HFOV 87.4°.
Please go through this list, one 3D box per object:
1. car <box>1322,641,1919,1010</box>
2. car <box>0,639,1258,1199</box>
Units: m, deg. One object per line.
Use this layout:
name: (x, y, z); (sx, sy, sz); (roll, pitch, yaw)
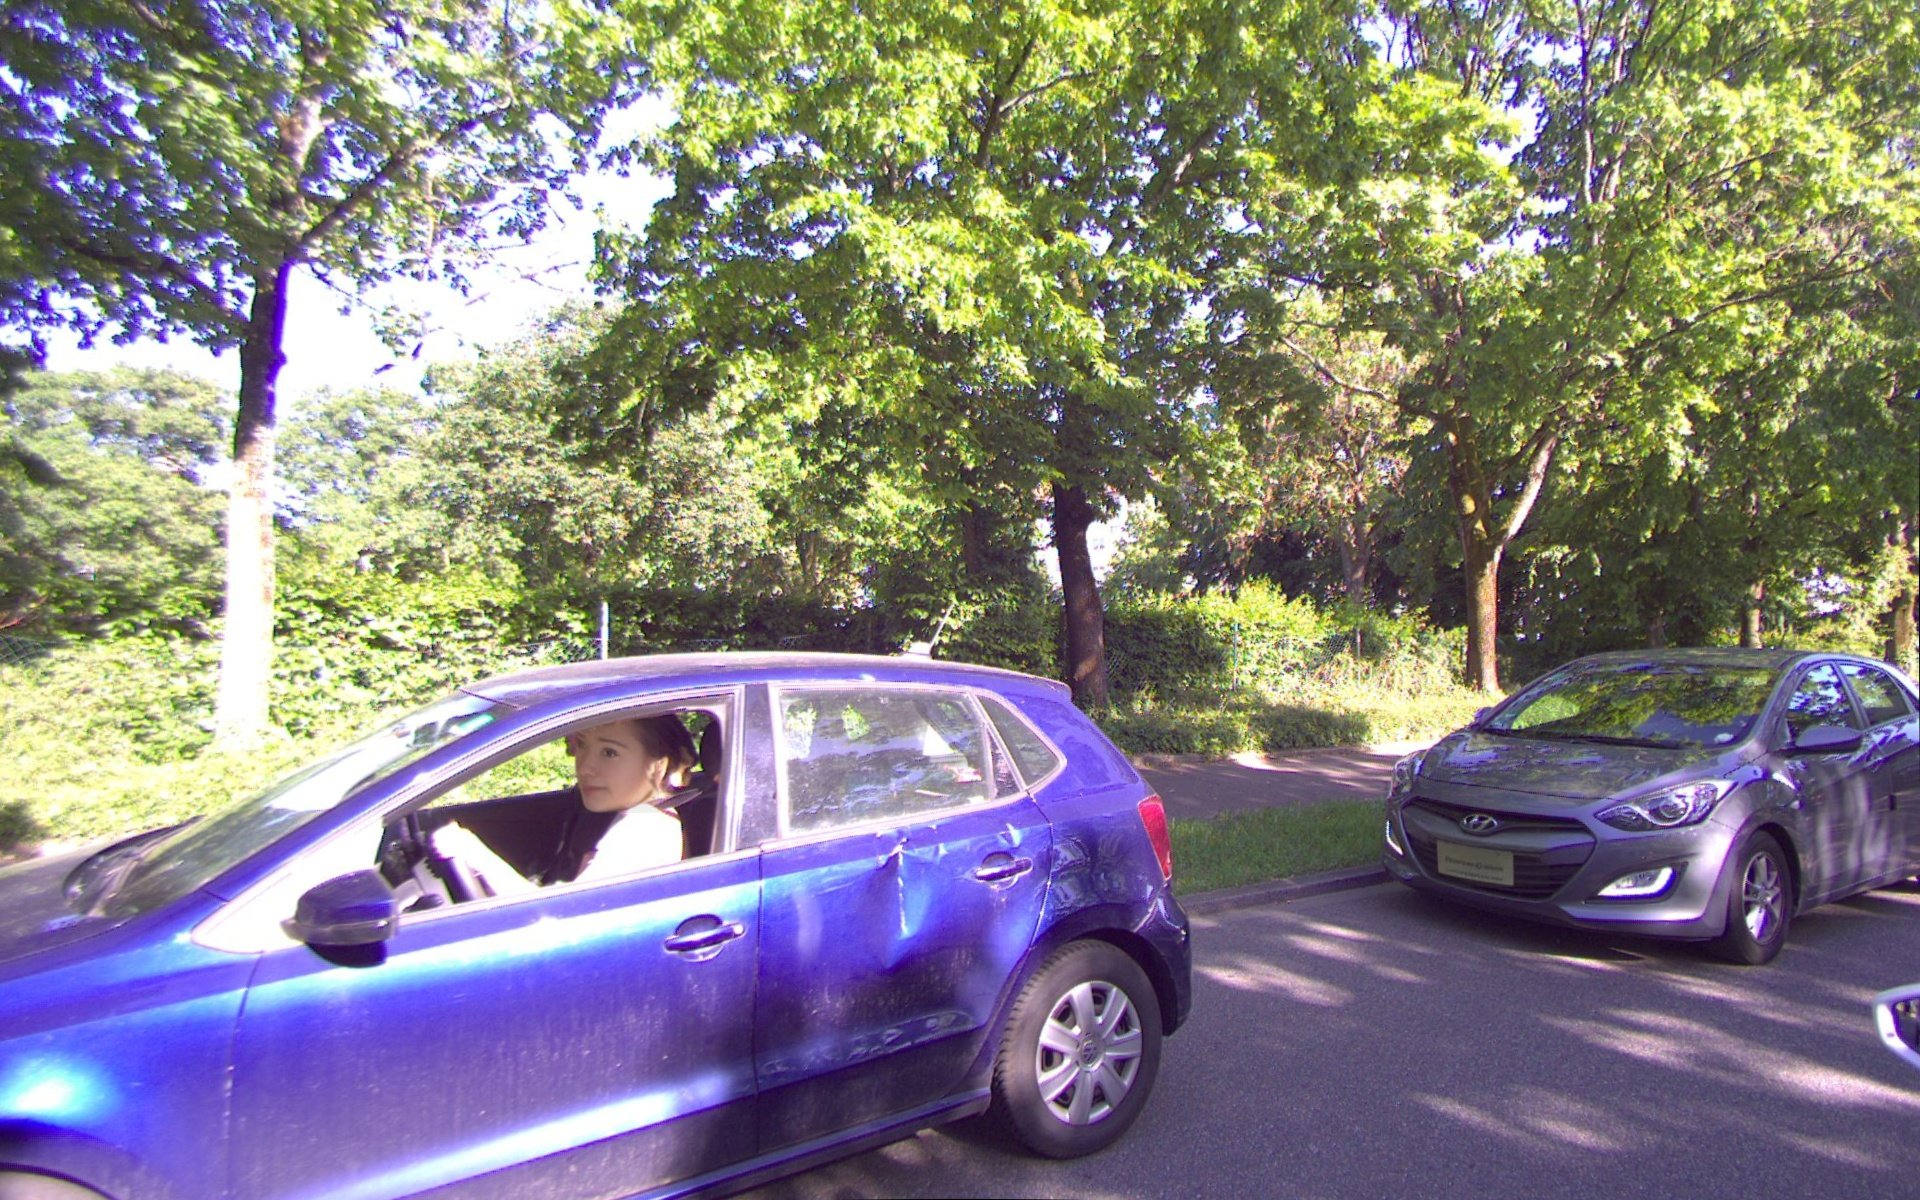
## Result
car: (4.266, 0.992, 5.928); (4.193, 1.473, 1.747); (1, -3, -31)
car: (-1.035, 0.844, 2.842); (3.610, 1.445, 1.593); (1, -3, -31)
